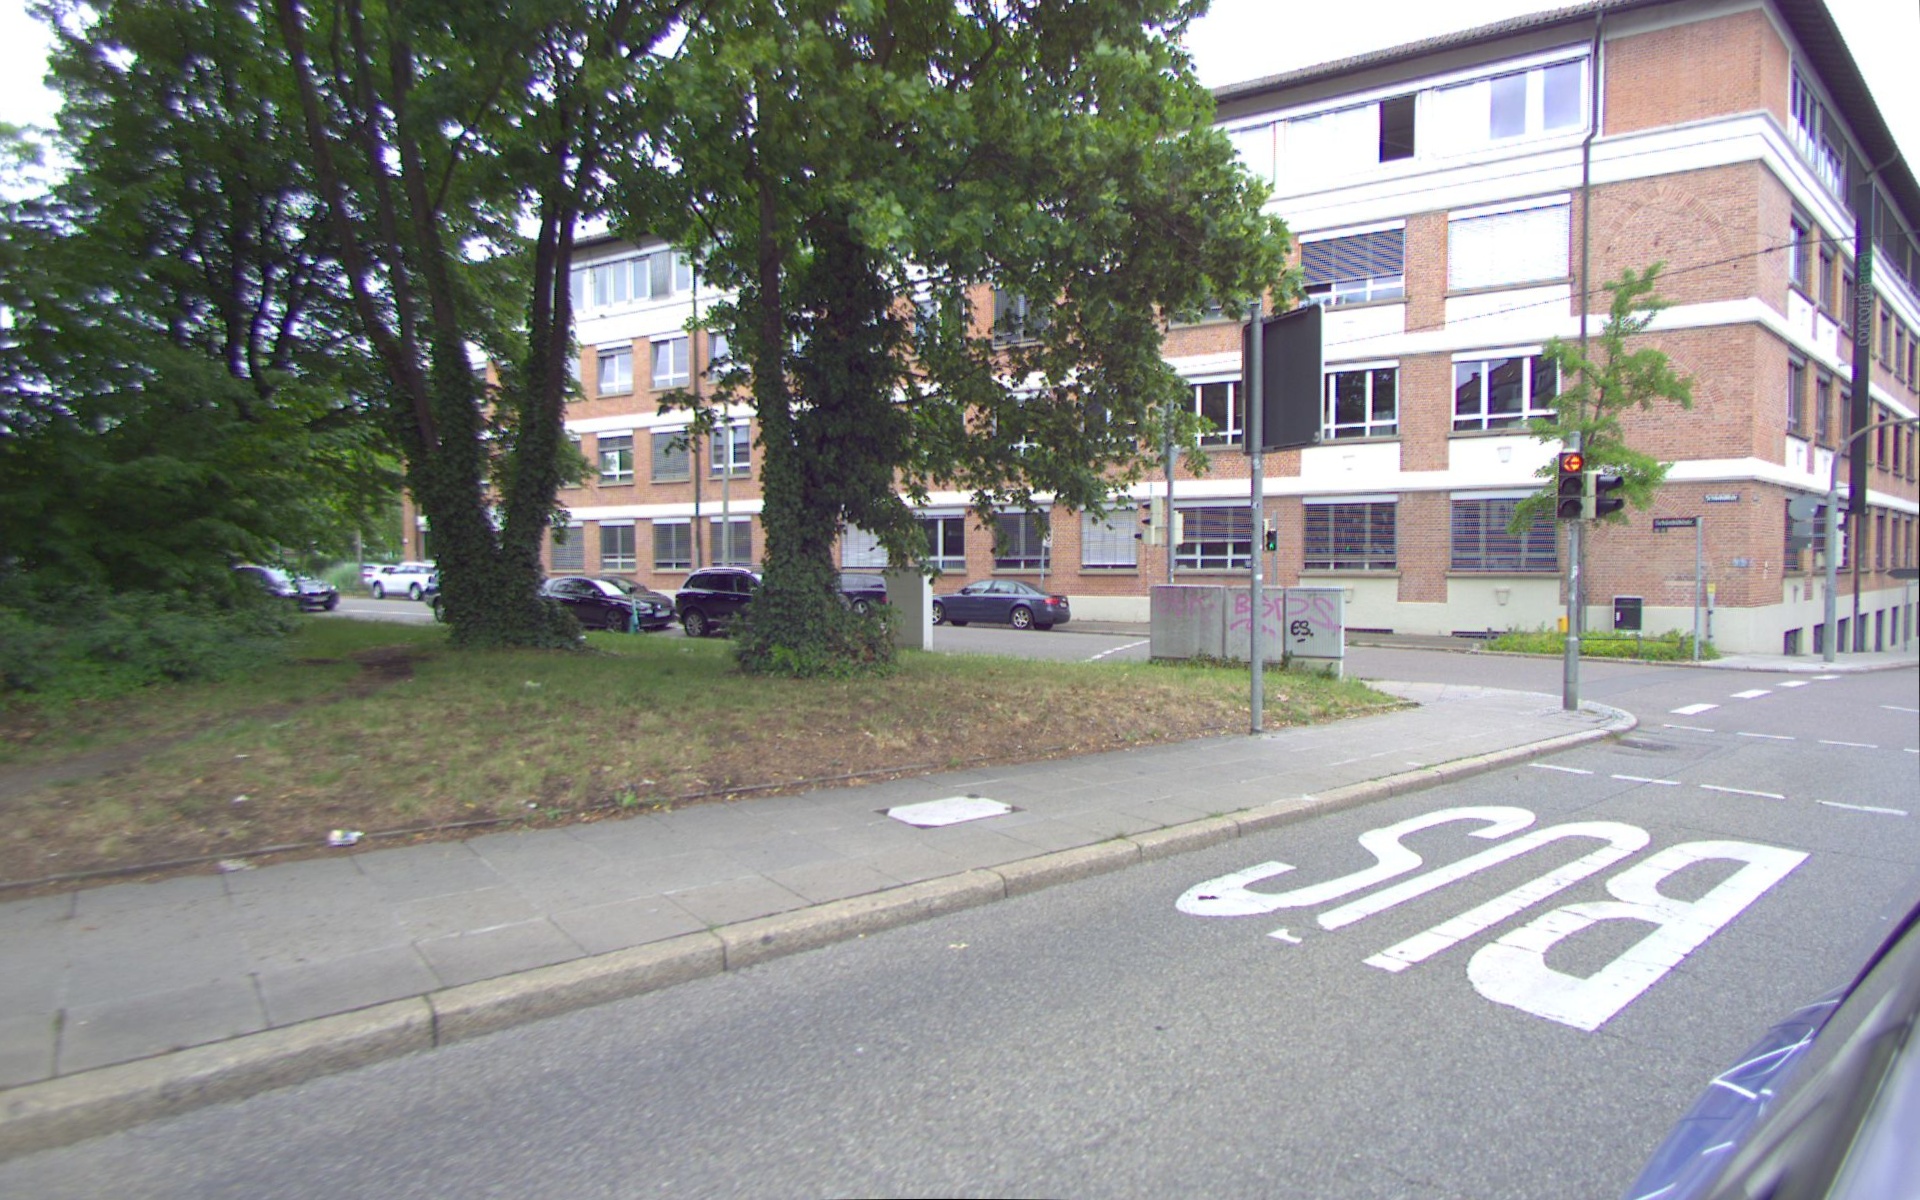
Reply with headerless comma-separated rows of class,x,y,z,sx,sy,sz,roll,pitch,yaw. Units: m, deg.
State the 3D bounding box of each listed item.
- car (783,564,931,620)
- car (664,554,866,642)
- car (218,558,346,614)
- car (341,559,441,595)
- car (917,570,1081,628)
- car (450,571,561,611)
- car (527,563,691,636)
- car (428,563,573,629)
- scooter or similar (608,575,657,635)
car,-3.238,-0.252,31.646,4.358,1.528,1.755,3,-1,28
car,-4.711,-0.129,24.335,4.618,1.746,1.946,2,7,30
car,-23.476,-0.540,35.026,4.274,1.627,1.980,2,7,30
car,-29.858,-1.190,53.214,1.917,1.568,4.222,2,-1,25
car,1.104,-0.028,29.234,4.380,1.423,1.755,3,-1,28
car,-17.833,-0.375,39.650,4.222,1.338,1.703,3,-1,28
car,-9.338,-0.079,26.862,4.274,1.627,1.730,2,7,30
car,-13.452,-0.177,29.587,4.274,1.627,1.681,2,7,30
scooter or similar,-7.048,0.093,21.791,1.095,1.245,0.338,2,1,31
